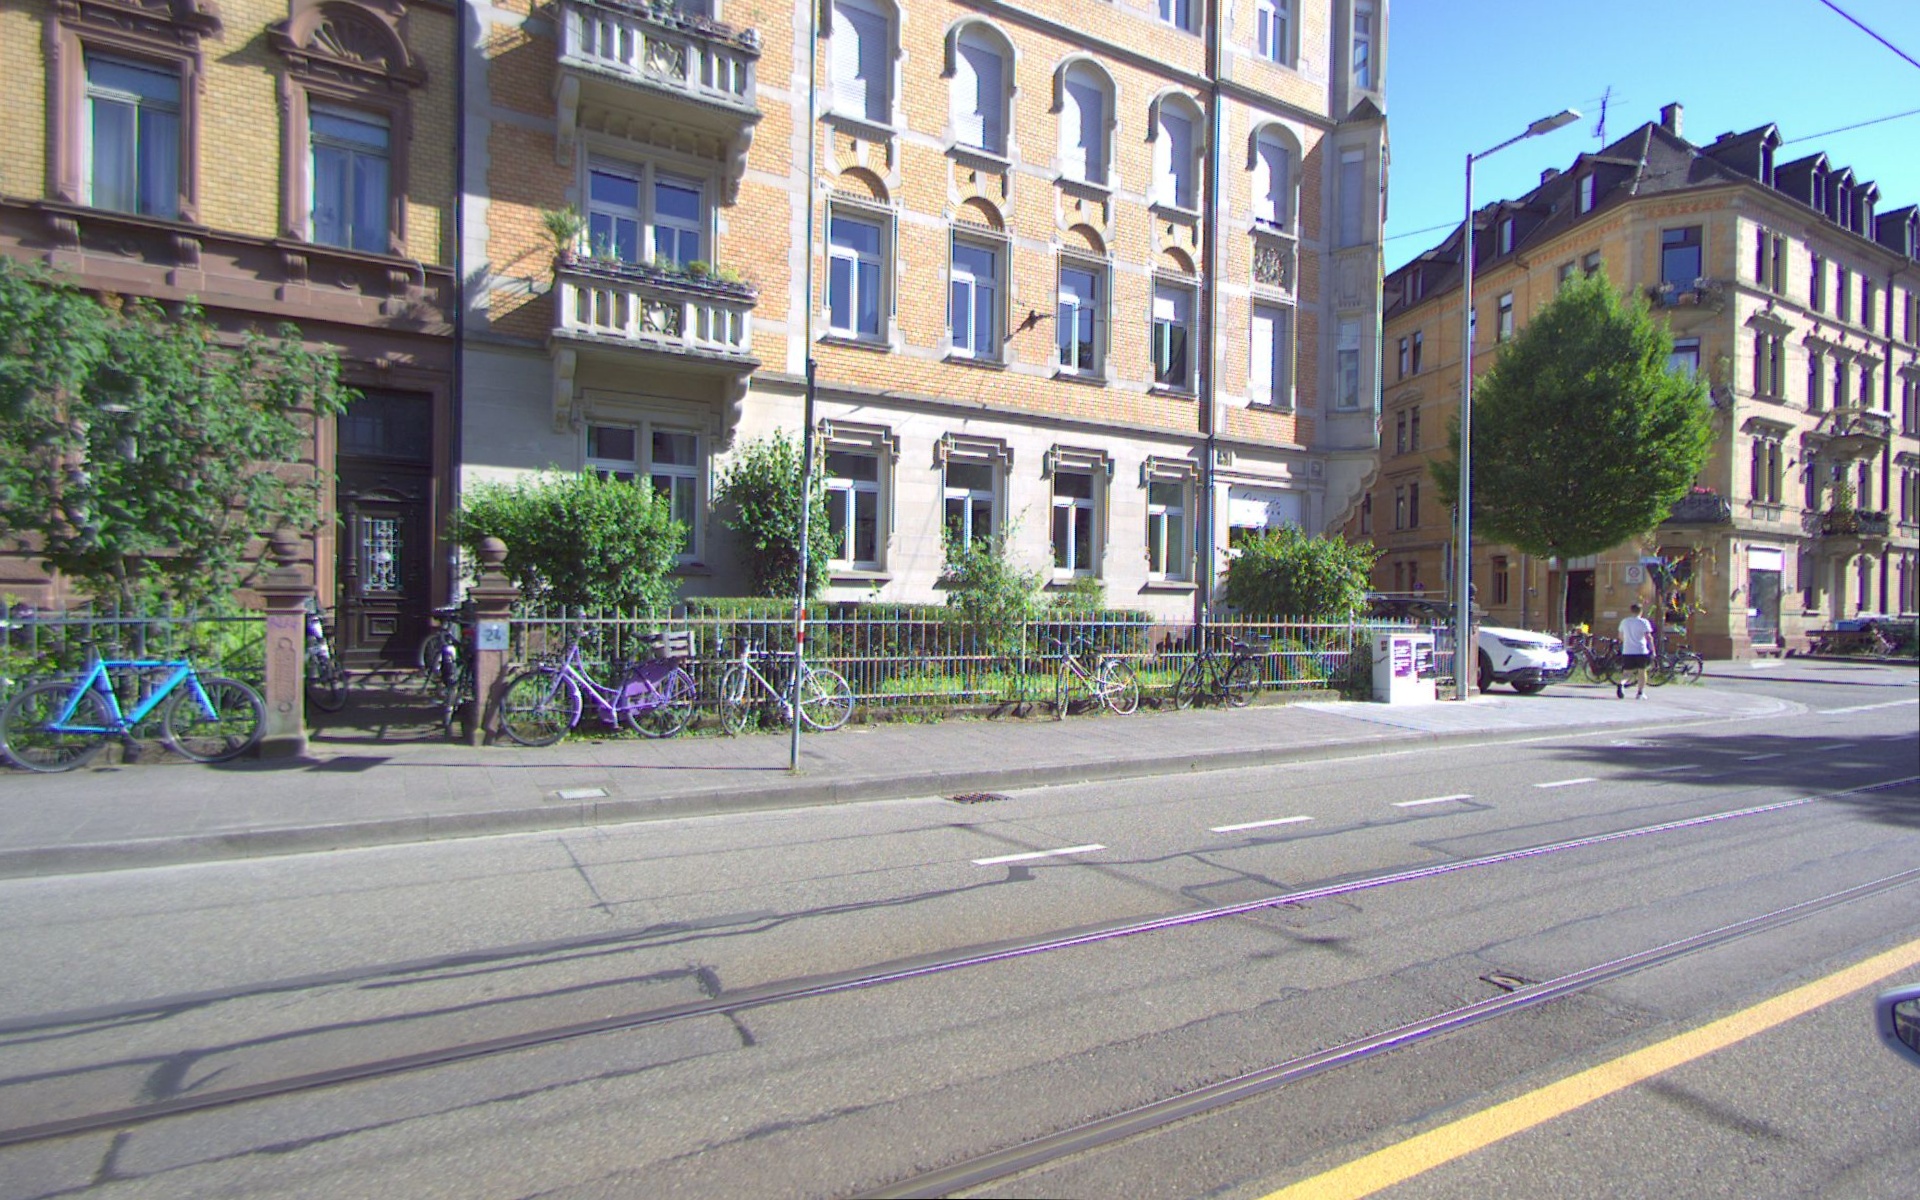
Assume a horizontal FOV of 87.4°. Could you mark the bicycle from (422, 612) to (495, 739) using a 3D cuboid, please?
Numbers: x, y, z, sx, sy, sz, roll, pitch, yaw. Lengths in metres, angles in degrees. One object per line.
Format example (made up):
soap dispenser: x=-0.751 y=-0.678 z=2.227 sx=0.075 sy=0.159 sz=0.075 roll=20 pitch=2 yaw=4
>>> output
bicycle: x=-5.109 y=0.717 z=10.184 sx=0.558 sy=1.047 sz=1.739 roll=1 pitch=4 yaw=-30

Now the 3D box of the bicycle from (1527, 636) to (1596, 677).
bicycle: x=14.695 y=1.366 z=24.560 sx=1.268 sy=0.926 sz=0.621 roll=2 pitch=0 yaw=9

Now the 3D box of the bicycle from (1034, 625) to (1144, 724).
bicycle: x=1.653 y=0.893 z=12.649 sx=0.555 sy=1.047 sz=1.761 roll=6 pitch=4 yaw=35

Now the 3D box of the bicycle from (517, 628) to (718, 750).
bicycle: x=-3.264 y=0.814 z=9.635 sx=1.747 sy=1.047 sz=0.560 roll=1 pitch=2 yaw=-31

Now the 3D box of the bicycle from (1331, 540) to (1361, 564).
bicycle: x=20.614 y=-2.550 z=53.687 sx=0.545 sy=1.141 sz=2.130 roll=1 pitch=0 yaw=-8

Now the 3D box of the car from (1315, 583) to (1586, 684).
car: x=9.298 y=0.560 z=19.483 sx=1.941 sy=1.665 sz=4.429 roll=1 pitch=1 yaw=-27

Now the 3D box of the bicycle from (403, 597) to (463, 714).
bicycle: x=-6.223 y=0.608 z=11.829 sx=0.558 sy=1.170 sz=1.753 roll=1 pitch=4 yaw=-30

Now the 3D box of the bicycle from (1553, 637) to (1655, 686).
bicycle: x=13.781 y=1.304 z=21.542 sx=1.755 sy=0.926 sz=0.620 roll=2 pitch=-1 yaw=25

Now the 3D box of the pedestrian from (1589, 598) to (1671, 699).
pedestrian: x=12.141 y=0.871 z=18.198 sx=1.071 sy=1.746 sz=0.824 roll=2 pitch=1 yaw=-34

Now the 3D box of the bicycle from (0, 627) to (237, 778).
bicycle: x=-6.752 y=0.766 z=7.825 sx=1.746 sy=1.047 sz=0.560 roll=0 pitch=2 yaw=-30

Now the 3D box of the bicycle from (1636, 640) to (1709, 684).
bicycle: x=16.518 y=1.433 z=23.311 sx=1.270 sy=0.926 sz=0.620 roll=2 pitch=-1 yaw=25

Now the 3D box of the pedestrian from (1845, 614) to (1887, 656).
pedestrian: x=30.671 y=1.185 z=33.997 sx=0.570 sy=1.370 sz=0.897 roll=1 pitch=-2 yaw=-28

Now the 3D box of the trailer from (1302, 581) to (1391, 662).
trailer: x=13.692 y=0.788 z=35.749 sx=1.793 sy=2.731 sz=2.927 roll=1 pitch=-2 yaw=-6

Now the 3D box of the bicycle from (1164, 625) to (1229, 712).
bicycle: x=3.342 y=0.920 z=14.094 sx=0.554 sy=1.047 sz=1.766 roll=2 pitch=2 yaw=24

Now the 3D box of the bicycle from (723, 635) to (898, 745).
bicycle: x=-1.567 y=0.916 z=10.646 sx=1.747 sy=1.047 sz=0.560 roll=1 pitch=2 yaw=-31

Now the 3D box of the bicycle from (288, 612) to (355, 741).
bicycle: x=-6.215 y=0.702 z=9.816 sx=0.474 sy=1.047 sz=1.567 roll=1 pitch=4 yaw=-30
